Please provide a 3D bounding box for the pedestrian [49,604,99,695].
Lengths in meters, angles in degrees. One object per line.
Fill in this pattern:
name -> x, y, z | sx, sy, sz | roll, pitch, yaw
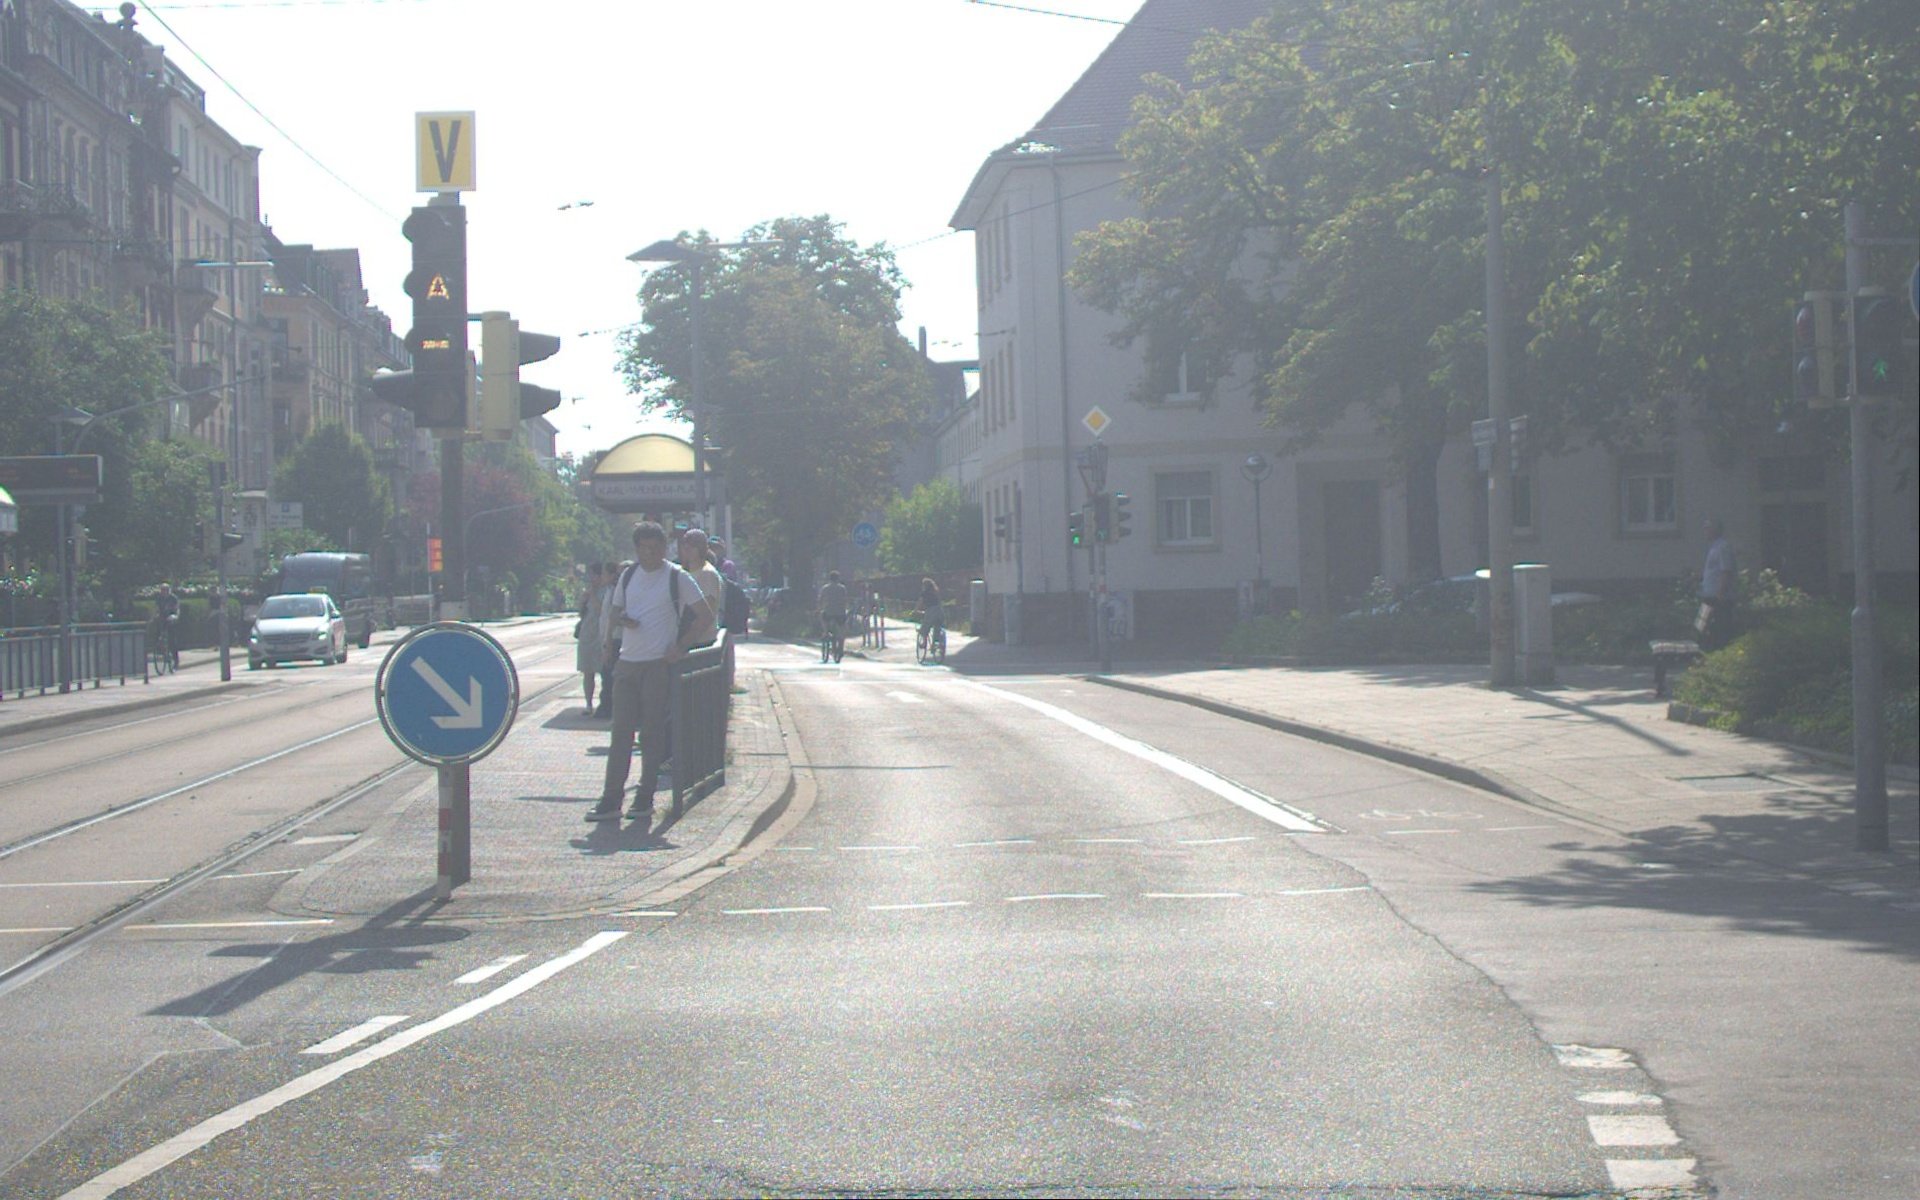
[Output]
pedestrian -> -17.184, 0.952, 66.696 | 0.750, 1.725, 0.771 | -1, 0, -1

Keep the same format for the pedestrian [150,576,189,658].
pedestrian -> -16.804, 0.358, 73.109 | 0.749, 1.725, 0.772 | -1, 0, -12

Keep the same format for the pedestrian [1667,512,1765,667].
pedestrian -> 8.603, -0.123, 39.094 | 0.892, 1.734, 0.775 | -1, 0, 26

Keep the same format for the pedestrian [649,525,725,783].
pedestrian -> -1.975, 0.383, 24.911 | 0.504, 1.827, 0.534 | 1, 3, -3

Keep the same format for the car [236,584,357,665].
car -> -14.251, 0.509, 73.998 | 1.801, 1.648, 3.642 | -1, 0, 1

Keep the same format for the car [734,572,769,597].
car -> -15.286, -1.137, 252.213 | 1.994, 1.777, 3.999 | 0, 0, 4

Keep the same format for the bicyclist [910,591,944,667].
bicyclist -> -0.633, 0.537, 65.236 | 0.558, 1.412, 0.872 | -2, 0, -4

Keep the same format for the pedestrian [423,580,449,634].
pedestrian -> -17.145, 0.223, 112.498 | 0.749, 1.725, 0.772 | -1, 0, -12

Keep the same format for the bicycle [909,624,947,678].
bicycle -> -0.614, 0.965, 65.225 | 0.558, 0.974, 1.856 | -2, 0, -5

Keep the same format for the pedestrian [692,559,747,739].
pedestrian -> -2.409, 0.485, 34.420 | 0.504, 1.753, 0.534 | 1, 3, -3

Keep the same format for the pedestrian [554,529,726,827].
pedestrian -> -1.918, 0.448, 20.644 | 0.701, 1.719, 0.747 | 3, 3, 30

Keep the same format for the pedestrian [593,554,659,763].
pedestrian -> -2.871, 0.497, 29.583 | 0.504, 1.753, 0.534 | 1, 3, -3

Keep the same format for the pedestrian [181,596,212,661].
pedestrian -> -20.421, 0.763, 91.952 | 0.749, 1.725, 0.772 | -1, 0, -12

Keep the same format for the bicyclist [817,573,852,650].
bicyclist -> -2.517, 0.227, 68.847 | 0.629, 1.502, 0.679 | -2, 0, -4

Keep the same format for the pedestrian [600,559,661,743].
pedestrian -> -3.219, 0.494, 33.581 | 0.543, 1.753, 0.534 | 1, 3, -3

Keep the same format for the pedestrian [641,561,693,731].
pedestrian -> -3.102, 0.483, 36.396 | 0.504, 1.753, 0.534 | 1, 3, -3

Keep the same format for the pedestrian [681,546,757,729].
pedestrian -> -2.367, 0.361, 33.803 | 0.709, 1.753, 0.534 | 1, 3, -3

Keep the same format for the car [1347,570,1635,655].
car -> 8.896, 0.218, 57.709 | 4.331, 1.316, 1.996 | -1, 0, 36

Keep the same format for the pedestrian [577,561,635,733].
pedestrian -> -3.685, 0.483, 35.792 | 0.532, 1.753, 0.545 | 1, 3, -2

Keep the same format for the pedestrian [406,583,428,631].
pedestrian -> -19.869, 0.262, 125.807 | 0.749, 1.725, 0.772 | -1, 0, -12

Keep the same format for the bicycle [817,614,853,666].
bicycle -> -2.508, 0.793, 68.852 | 0.629, 0.974, 1.770 | -2, 0, -5

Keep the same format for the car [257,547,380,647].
car -> -17.893, -0.094, 96.113 | 2.347, 2.653, 5.105 | -1, 0, 1
